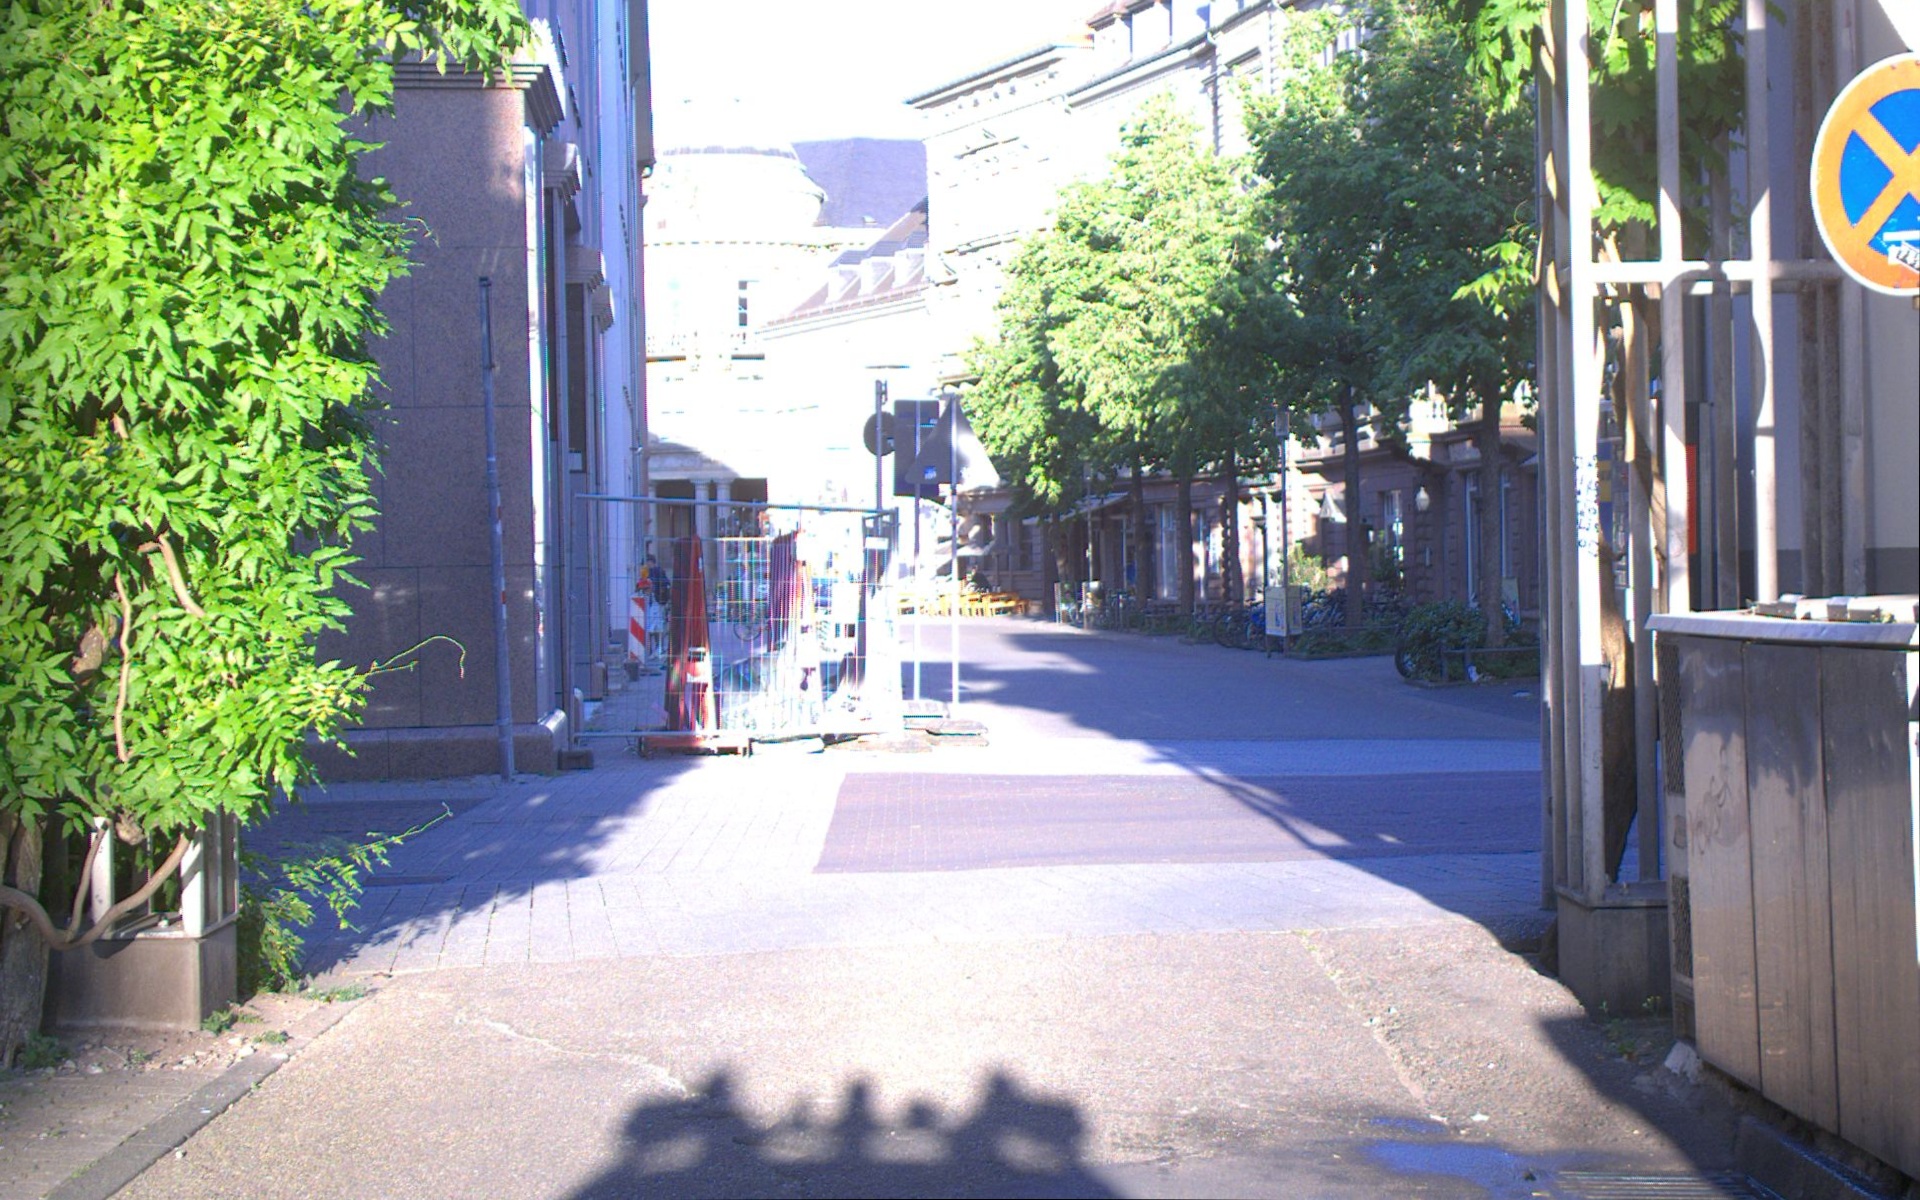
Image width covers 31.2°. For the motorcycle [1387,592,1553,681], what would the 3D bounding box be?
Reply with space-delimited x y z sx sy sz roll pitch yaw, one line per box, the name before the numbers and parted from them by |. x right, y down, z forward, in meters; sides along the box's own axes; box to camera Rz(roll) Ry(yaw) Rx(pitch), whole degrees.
motorcycle | 6.926 0.501 46.726 2.152 1.147 0.494 -1 -1 -4

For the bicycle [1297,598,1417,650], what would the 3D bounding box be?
bicycle | 7.425 0.454 64.367 2.152 0.923 0.591 -1 -1 -17

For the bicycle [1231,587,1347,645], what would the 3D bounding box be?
bicycle | 6.351 0.306 66.435 2.154 1.057 0.590 -2 -1 12

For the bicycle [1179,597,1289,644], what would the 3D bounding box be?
bicycle | 5.635 0.421 70.778 2.152 0.923 0.591 -1 -1 -9

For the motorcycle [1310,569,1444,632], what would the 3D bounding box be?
motorcycle | 7.682 0.011 63.262 2.470 1.091 0.591 -1 -1 -24

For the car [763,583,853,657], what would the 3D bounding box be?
car | -3.656 0.469 82.368 1.841 1.678 3.645 -1 0 -7

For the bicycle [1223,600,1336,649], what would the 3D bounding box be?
bicycle | 6.370 0.493 68.612 2.152 0.923 0.591 -1 -1 -9

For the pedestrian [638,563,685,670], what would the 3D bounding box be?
pedestrian | -4.963 0.264 57.130 0.654 1.758 0.634 -1 0 3
